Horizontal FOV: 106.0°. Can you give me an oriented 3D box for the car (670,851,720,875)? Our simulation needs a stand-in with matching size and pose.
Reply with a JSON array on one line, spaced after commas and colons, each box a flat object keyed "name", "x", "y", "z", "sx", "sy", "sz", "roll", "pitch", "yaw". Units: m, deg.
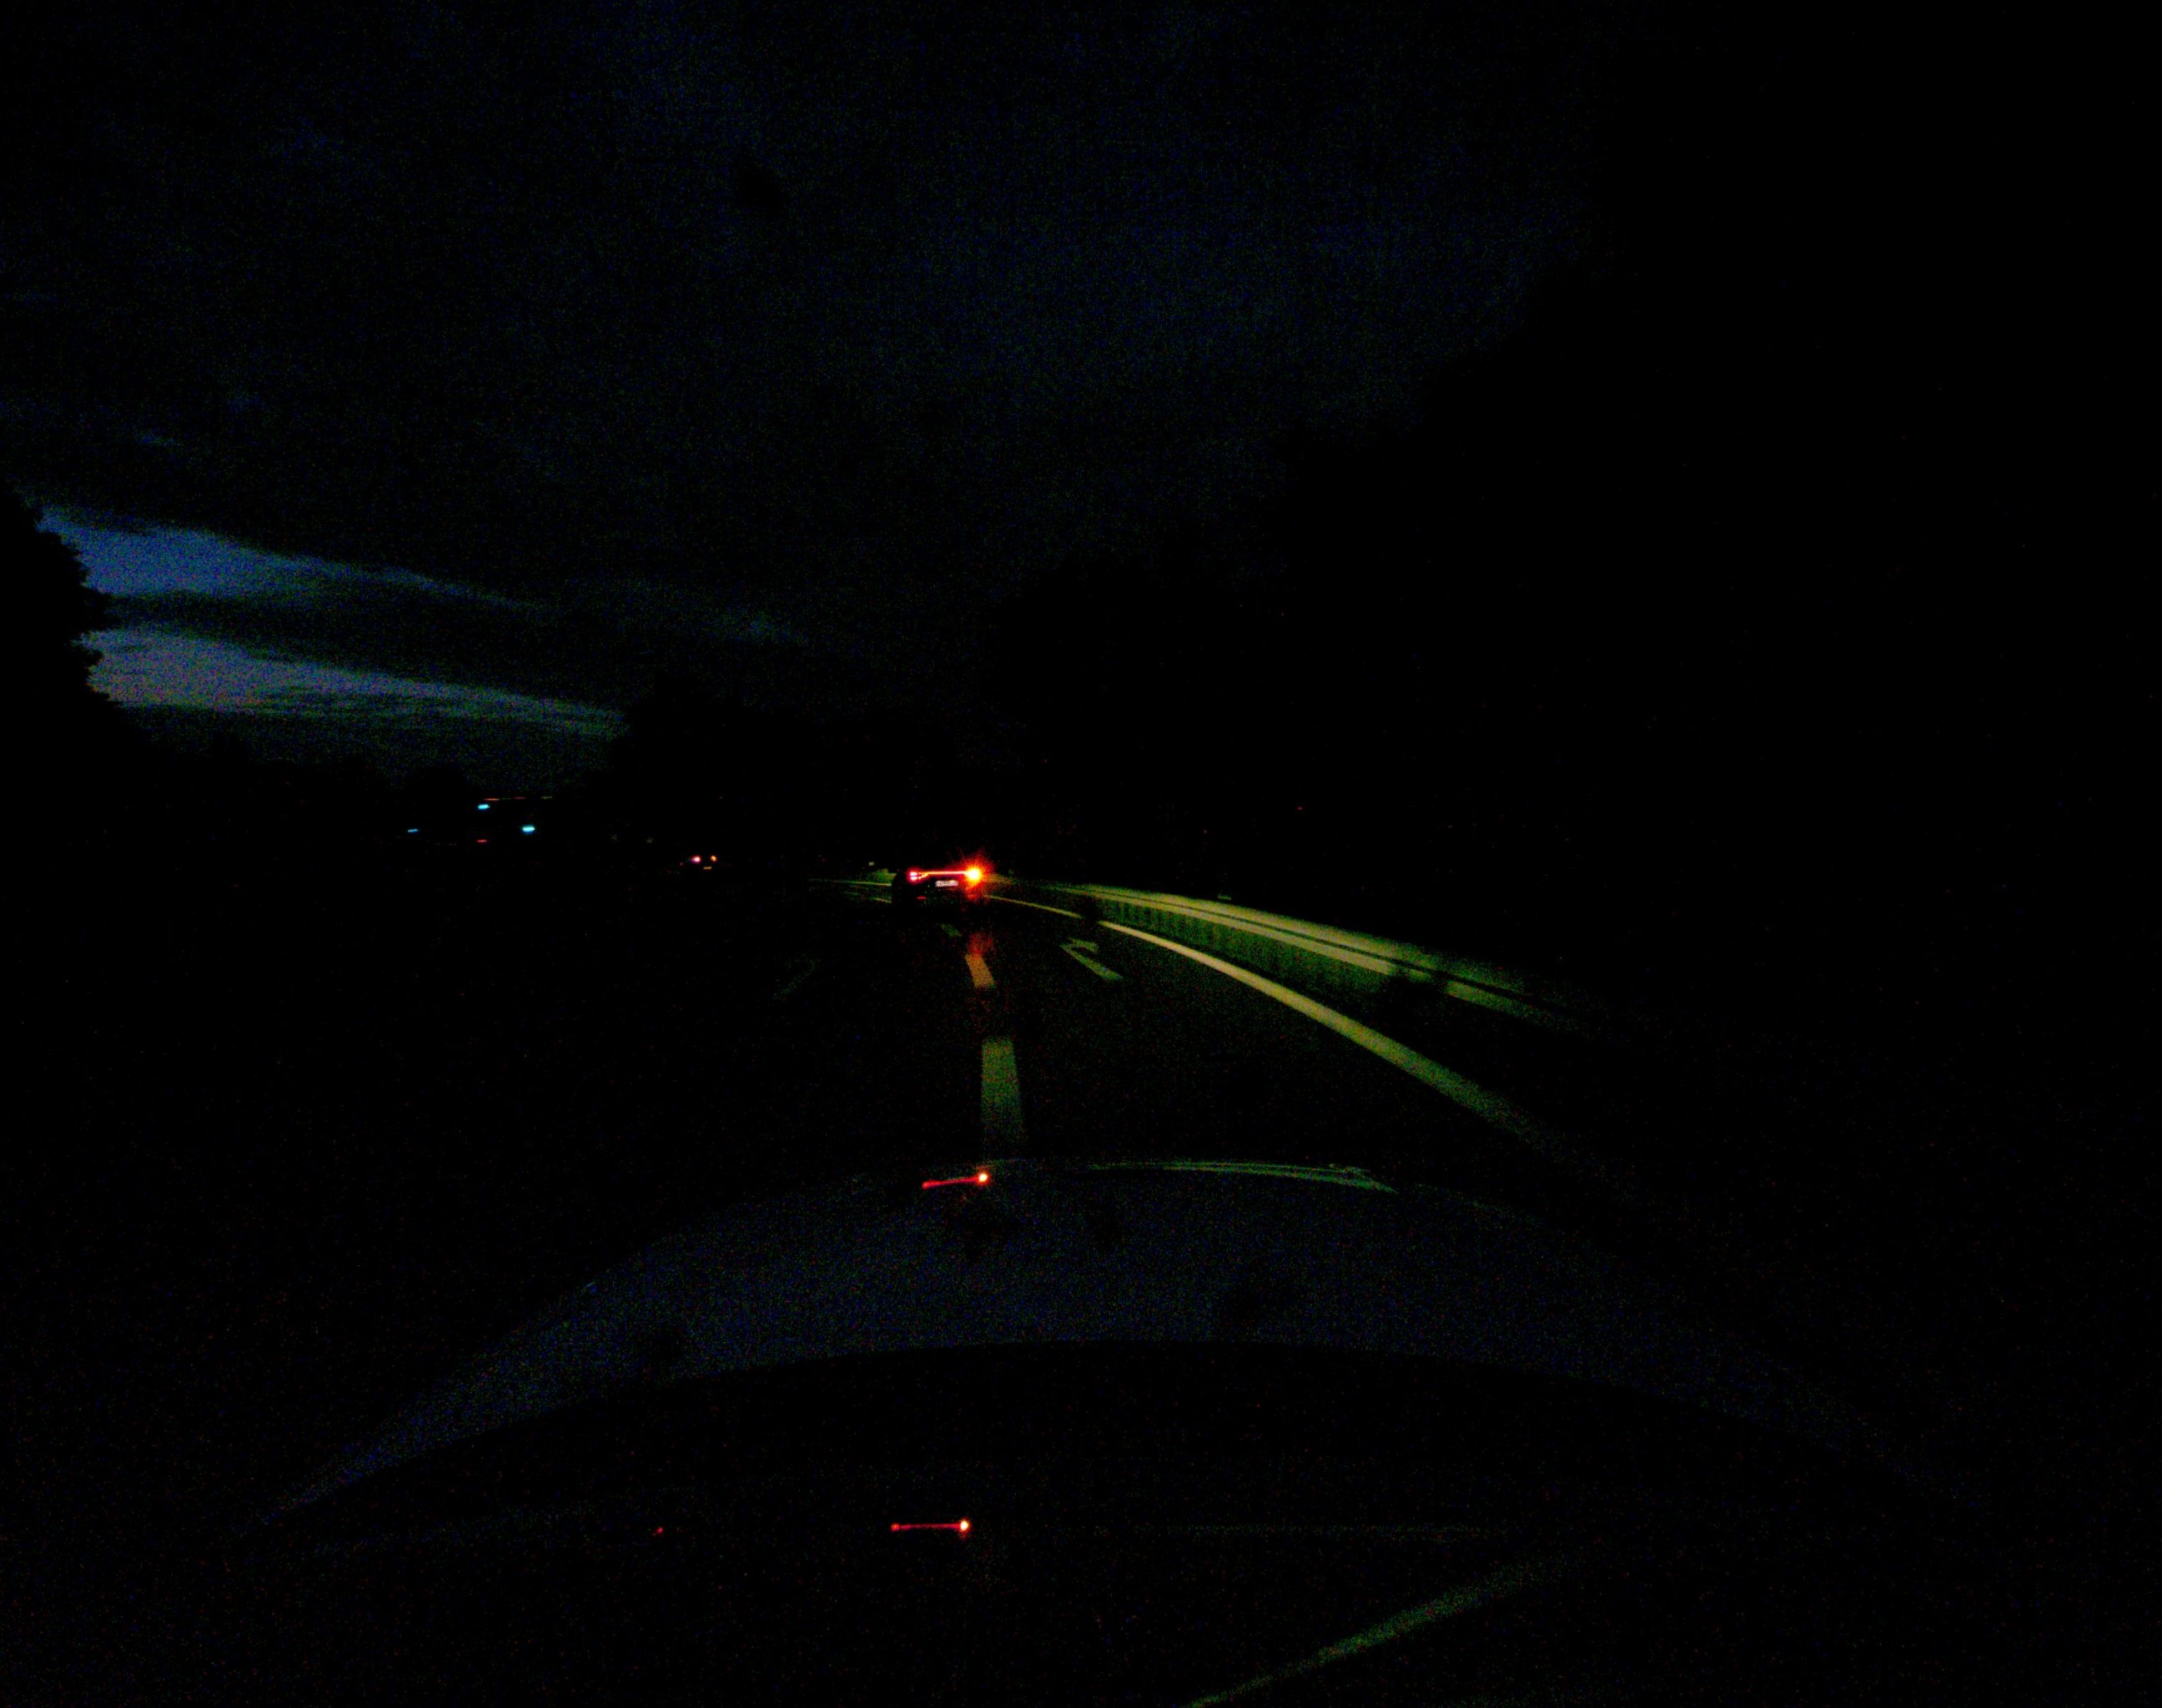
[{"name": "car", "x": -27.286, "y": 0.629, "z": 57.494, "sx": 2.011, "sy": 1.598, "sz": 3.951, "roll": 1, "pitch": -1, "yaw": -44}]

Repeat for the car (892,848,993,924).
[{"name": "car", "x": -3.542, "y": 0.723, "z": 20.135, "sx": 1.998, "sy": 1.659, "sz": 4.291, "roll": 1, "pitch": 0, "yaw": -16}]
